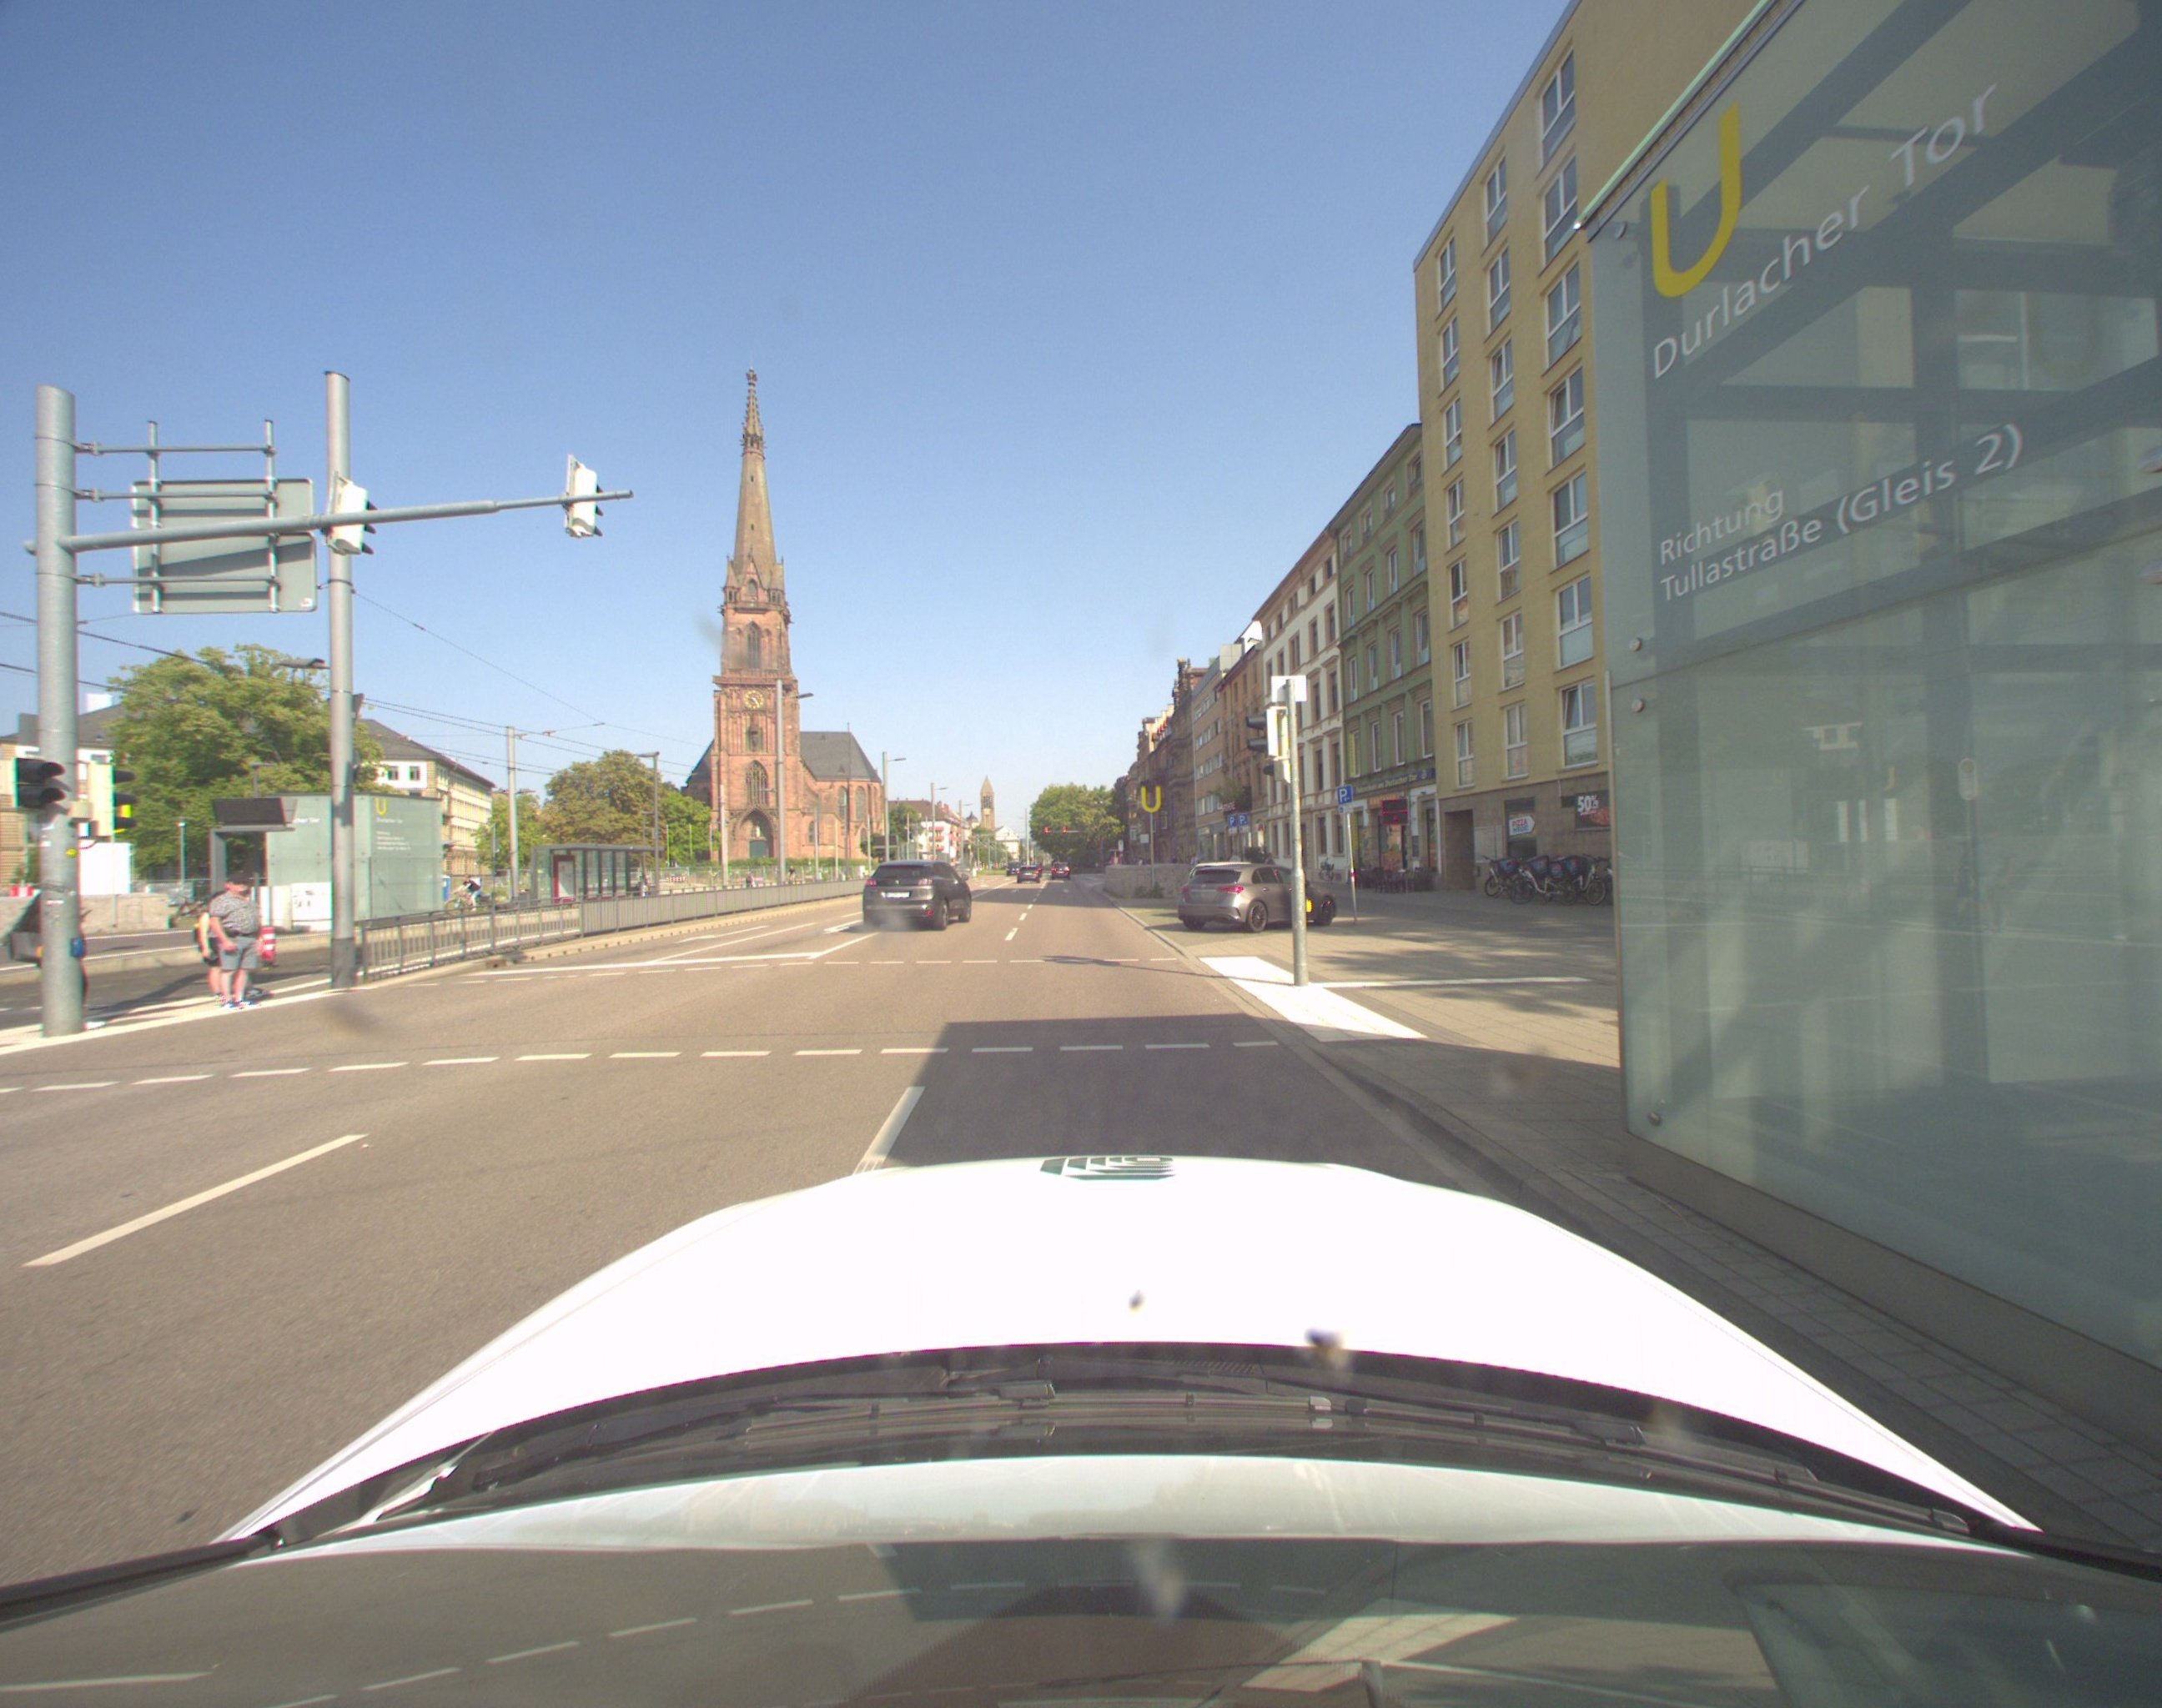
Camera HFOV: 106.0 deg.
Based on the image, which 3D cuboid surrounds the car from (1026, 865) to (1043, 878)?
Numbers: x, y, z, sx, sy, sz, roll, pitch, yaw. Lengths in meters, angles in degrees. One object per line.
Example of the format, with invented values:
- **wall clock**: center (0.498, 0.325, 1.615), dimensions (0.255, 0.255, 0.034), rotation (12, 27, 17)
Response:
- **car**: center (-5.343, 1.967, 94.127), dimensions (1.859, 1.424, 4.354), rotation (0, 0, -1)

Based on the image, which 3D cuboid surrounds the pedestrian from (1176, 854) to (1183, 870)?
- **pedestrian**: center (10.188, 0.857, 84.376), dimensions (0.602, 1.654, 0.586), rotation (-2, -1, -5)

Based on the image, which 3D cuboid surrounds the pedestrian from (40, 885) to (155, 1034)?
- **pedestrian**: center (-11.229, 1.183, 9.310), dimensions (0.631, 1.597, 0.467), rotation (-4, -1, -4)

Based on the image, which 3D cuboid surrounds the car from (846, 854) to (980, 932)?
- **car**: center (-3.891, 0.857, 19.691), dimensions (1.985, 1.621, 4.362), rotation (-2, 0, 4)

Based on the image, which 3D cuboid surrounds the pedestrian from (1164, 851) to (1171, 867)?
- **pedestrian**: center (9.552, 0.576, 89.473), dimensions (0.628, 1.719, 0.690), rotation (-2, -1, -2)

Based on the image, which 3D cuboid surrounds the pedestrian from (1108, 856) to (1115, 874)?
- **pedestrian**: center (3.115, 1.120, 83.069), dimensions (0.564, 1.729, 0.744), rotation (-2, -1, -5)

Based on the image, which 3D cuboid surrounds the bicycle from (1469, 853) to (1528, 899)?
- **bicycle**: center (12.176, 0.618, 23.819), dimensions (0.601, 1.261, 1.996), rotation (-2, 0, -2)

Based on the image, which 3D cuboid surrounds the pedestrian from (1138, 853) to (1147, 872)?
- **pedestrian**: center (5.815, 0.830, 77.071), dimensions (0.748, 1.729, 0.799), rotation (-2, -1, -5)

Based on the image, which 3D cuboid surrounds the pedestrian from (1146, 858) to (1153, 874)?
- **pedestrian**: center (7.834, 1.365, 93.508), dimensions (0.615, 1.804, 1.071), rotation (-2, -1, -1)

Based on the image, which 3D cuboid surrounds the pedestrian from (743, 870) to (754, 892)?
- **pedestrian**: center (-25.781, 2.092, 63.127), dimensions (0.516, 1.700, 0.664), rotation (-2, -1, -3)

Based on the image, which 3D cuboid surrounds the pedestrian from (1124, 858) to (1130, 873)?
- **pedestrian**: center (5.480, 1.343, 97.081), dimensions (0.480, 1.702, 0.702), rotation (-2, -1, -5)

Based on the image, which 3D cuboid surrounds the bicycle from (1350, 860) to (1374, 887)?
- **bicycle**: center (12.199, 0.825, 35.416), dimensions (0.382, 1.134, 1.718), rotation (-2, -1, -1)

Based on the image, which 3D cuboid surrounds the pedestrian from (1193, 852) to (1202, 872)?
- **pedestrian**: center (10.688, 0.715, 74.631), dimensions (0.602, 1.831, 0.741), rotation (-2, -1, -5)

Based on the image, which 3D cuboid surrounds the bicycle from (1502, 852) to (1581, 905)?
- **bicycle**: center (11.738, 0.612, 20.828), dimensions (0.602, 1.261, 1.990), rotation (-2, -1, -10)

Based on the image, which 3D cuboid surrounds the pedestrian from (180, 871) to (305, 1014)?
- **pedestrian**: center (-10.683, 1.100, 10.402), dimensions (0.812, 1.692, 0.651), rotation (-4, -1, -2)

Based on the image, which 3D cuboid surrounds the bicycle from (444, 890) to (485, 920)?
- **bicycle**: center (-25.172, 2.067, 33.285), dimensions (0.400, 1.109, 1.744), rotation (-2, -1, -3)

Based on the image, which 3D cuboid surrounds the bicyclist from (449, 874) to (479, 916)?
- **bicyclist**: center (-25.195, 1.670, 33.256), dimensions (0.585, 1.657, 0.790), rotation (-2, -1, -2)

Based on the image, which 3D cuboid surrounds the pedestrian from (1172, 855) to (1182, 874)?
- **pedestrian**: center (9.206, 0.982, 78.122), dimensions (0.718, 1.787, 0.856), rotation (-2, -1, -1)

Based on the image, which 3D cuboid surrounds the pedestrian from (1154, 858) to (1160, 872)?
- **pedestrian**: center (8.725, 1.257, 93.469), dimensions (0.484, 1.610, 0.812), rotation (-2, -1, -1)

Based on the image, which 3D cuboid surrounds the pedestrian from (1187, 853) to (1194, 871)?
- **pedestrian**: center (10.848, 0.806, 80.692), dimensions (0.602, 1.731, 0.510), rotation (-2, -1, -5)

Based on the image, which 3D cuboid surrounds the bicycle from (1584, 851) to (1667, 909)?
- **bicycle**: center (12.584, 0.580, 18.886), dimensions (0.601, 1.261, 1.847), rotation (-2, -1, -2)

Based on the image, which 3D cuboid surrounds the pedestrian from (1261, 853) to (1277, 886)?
- **pedestrian**: center (9.608, 0.777, 41.598), dimensions (0.607, 1.629, 0.736), rotation (-2, -1, -2)

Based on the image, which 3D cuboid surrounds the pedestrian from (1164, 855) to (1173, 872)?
- **pedestrian**: center (8.413, 0.917, 78.072), dimensions (0.718, 1.610, 0.856), rotation (-2, -1, -1)

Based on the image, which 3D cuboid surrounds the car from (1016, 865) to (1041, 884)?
- **car**: center (-4.210, 1.651, 65.584), dimensions (1.859, 1.424, 4.354), rotation (0, 0, -1)

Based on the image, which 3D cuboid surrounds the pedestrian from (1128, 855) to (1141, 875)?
- **pedestrian**: center (4.831, 0.993, 73.575), dimensions (0.924, 1.831, 0.799), rotation (-2, -1, -5)

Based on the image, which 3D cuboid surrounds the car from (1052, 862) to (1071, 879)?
- **car**: center (-1.978, 1.644, 81.032), dimensions (1.826, 1.621, 4.354), rotation (0, 0, -1)

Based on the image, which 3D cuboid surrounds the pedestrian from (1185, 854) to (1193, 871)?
- **pedestrian**: center (10.820, 0.888, 81.490), dimensions (0.602, 1.692, 0.586), rotation (-2, -1, -5)

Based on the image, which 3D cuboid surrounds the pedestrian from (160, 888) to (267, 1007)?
- **pedestrian**: center (-12.091, 1.280, 11.370), dimensions (0.805, 1.548, 0.548), rotation (-4, -1, -1)

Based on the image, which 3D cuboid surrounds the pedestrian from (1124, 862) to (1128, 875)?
- **pedestrian**: center (4.415, 1.415, 80.134), dimensions (0.275, 1.274, 0.446), rotation (-2, -1, -9)

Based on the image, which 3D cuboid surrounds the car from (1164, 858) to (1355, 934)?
- **car**: center (4.063, 0.854, 18.124), dimensions (4.432, 1.423, 1.826), rotation (-1, -1, -41)

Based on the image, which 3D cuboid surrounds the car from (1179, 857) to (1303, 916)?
- **car**: center (4.465, 0.846, 22.480), dimensions (3.548, 1.464, 1.603), rotation (-1, -1, -44)

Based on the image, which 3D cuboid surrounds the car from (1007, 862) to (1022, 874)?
- **car**: center (-8.912, 1.876, 109.366), dimensions (1.736, 1.527, 3.869), rotation (-2, 0, -3)

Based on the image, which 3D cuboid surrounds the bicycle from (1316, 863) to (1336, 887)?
- **bicycle**: center (12.026, 1.004, 39.973), dimensions (0.382, 1.134, 1.718), rotation (-2, -1, -1)

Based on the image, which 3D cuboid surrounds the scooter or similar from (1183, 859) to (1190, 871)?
- **scooter or similar**: center (10.275, 1.034, 79.415), dimensions (0.359, 1.163, 1.150), rotation (-2, -1, -4)

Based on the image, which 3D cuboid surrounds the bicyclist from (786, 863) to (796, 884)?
- **bicyclist**: center (-24.427, 1.621, 68.653), dimensions (0.485, 1.747, 0.819), rotation (-2, -1, -1)

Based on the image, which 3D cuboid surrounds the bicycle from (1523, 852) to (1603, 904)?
- **bicycle**: center (12.404, 0.591, 21.017), dimensions (0.602, 1.261, 1.990), rotation (-2, -1, -10)

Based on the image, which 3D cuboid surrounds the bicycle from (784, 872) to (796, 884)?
- **bicycle**: center (-24.493, 2.016, 68.536), dimensions (0.349, 0.954, 1.694), rotation (-2, -1, -1)
